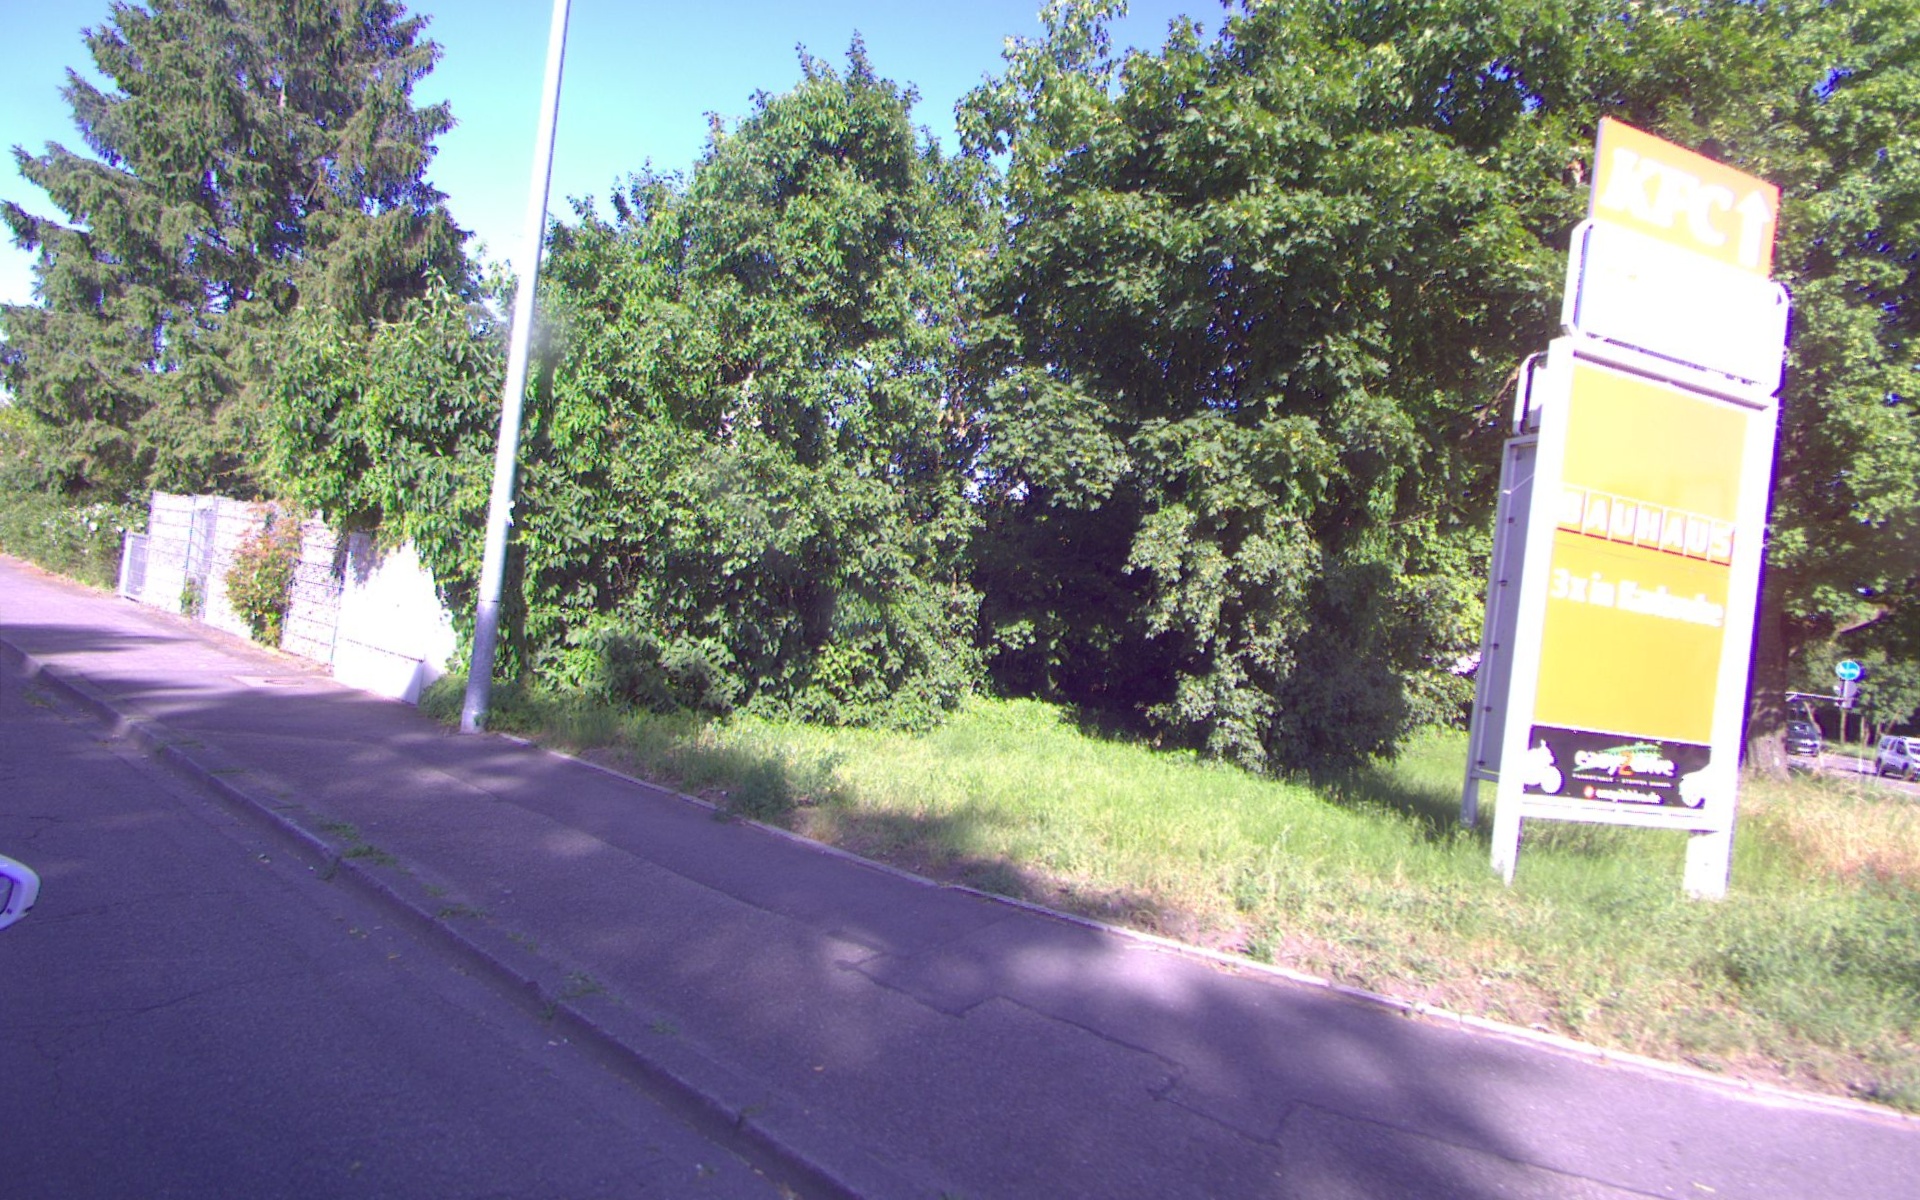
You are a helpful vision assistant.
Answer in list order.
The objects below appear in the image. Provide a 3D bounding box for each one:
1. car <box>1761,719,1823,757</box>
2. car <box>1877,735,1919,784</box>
[{"bbox_3d":[49.742,8.213,60.230,1.809,1.819,3.909,5,-2,25],"label":"car"},{"bbox_3d":[41.974,7.026,43.852,1.768,1.819,3.909,5,-2,25],"label":"car"}]
